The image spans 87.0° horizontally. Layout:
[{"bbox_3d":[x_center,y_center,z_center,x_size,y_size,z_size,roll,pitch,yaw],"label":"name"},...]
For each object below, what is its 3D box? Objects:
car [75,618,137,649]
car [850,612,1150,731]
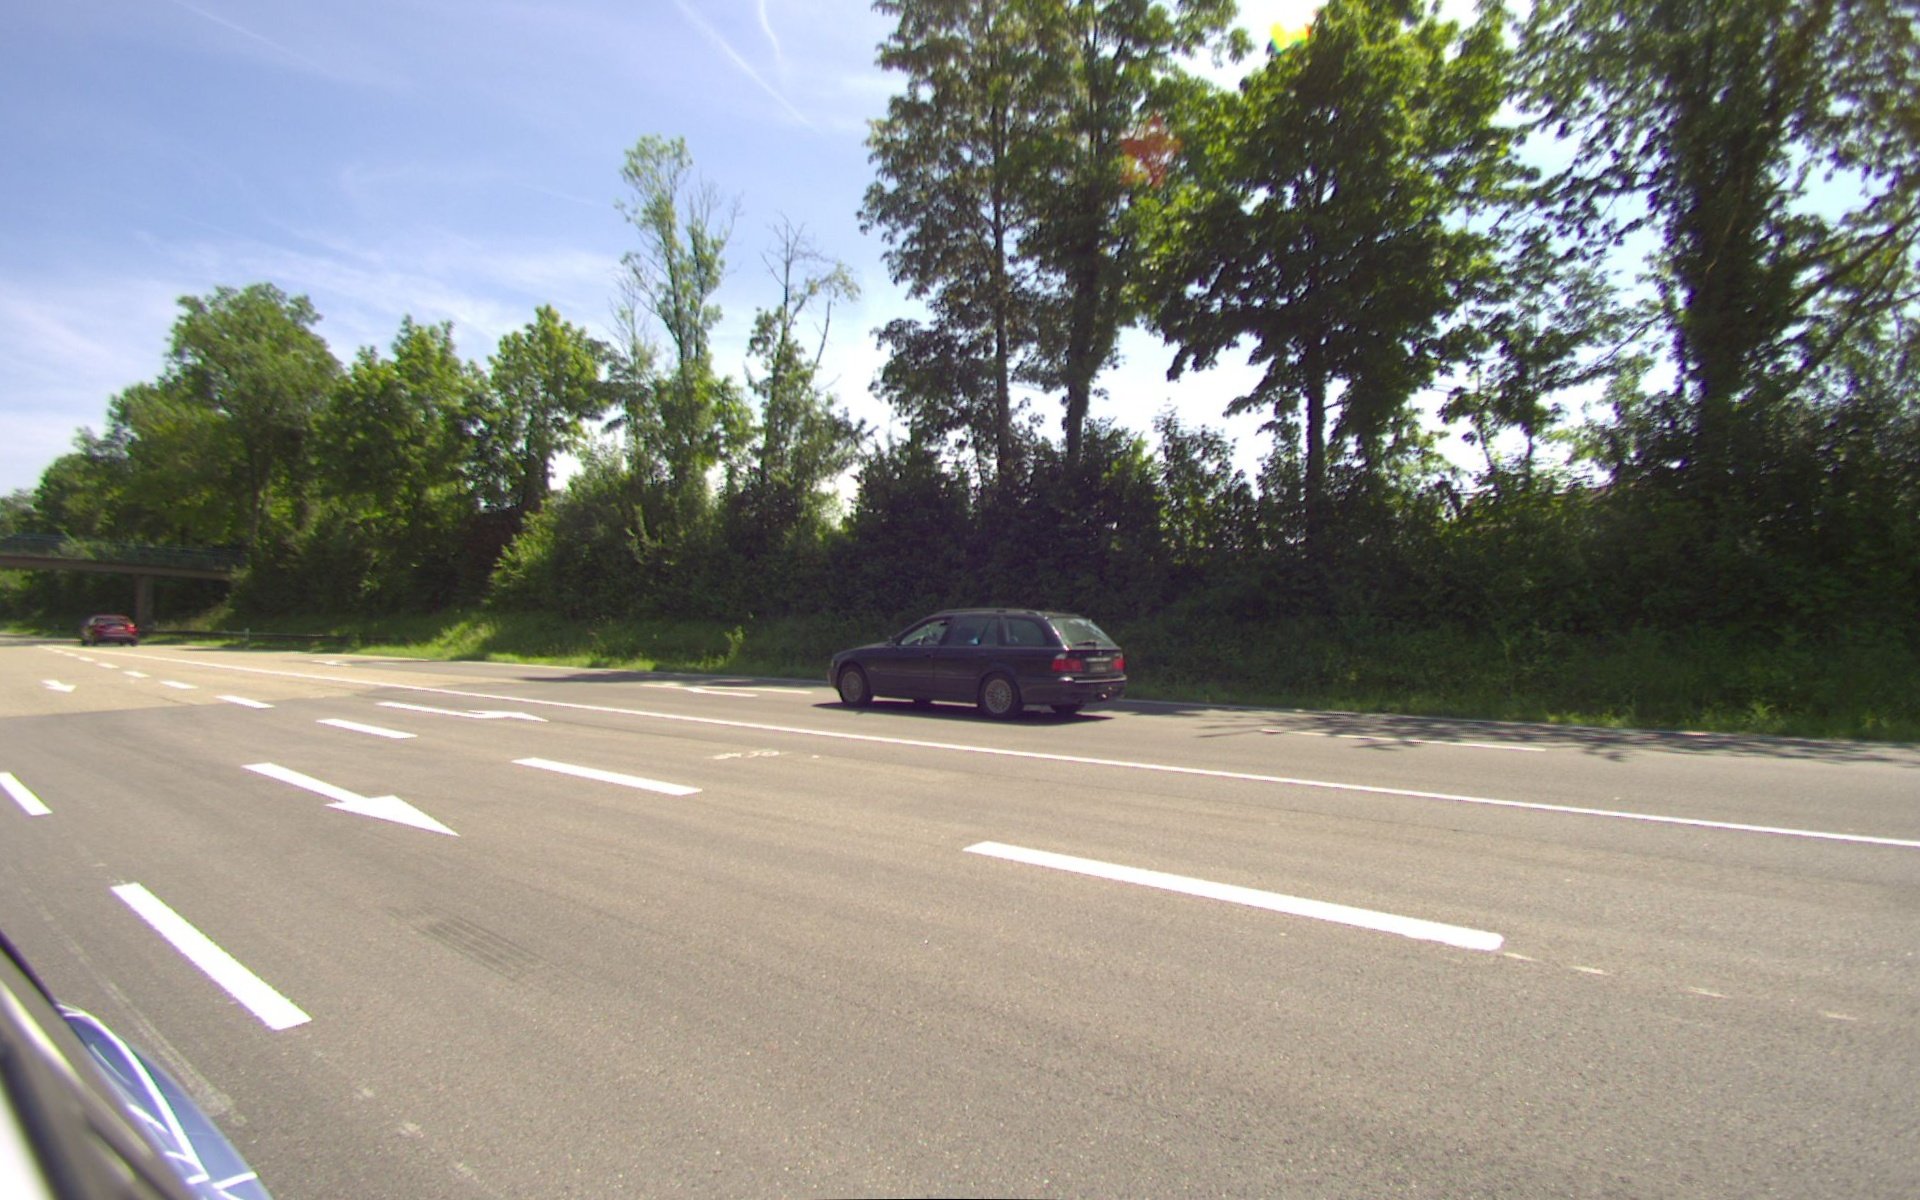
[{"bbox_3d":[-42.905,1.666,50.822,3.763,1.520,1.883,-1,-1,41],"label":"car"},{"bbox_3d":[0.473,0.885,14.230,3.997,1.397,1.749,0,0,40],"label":"car"}]
